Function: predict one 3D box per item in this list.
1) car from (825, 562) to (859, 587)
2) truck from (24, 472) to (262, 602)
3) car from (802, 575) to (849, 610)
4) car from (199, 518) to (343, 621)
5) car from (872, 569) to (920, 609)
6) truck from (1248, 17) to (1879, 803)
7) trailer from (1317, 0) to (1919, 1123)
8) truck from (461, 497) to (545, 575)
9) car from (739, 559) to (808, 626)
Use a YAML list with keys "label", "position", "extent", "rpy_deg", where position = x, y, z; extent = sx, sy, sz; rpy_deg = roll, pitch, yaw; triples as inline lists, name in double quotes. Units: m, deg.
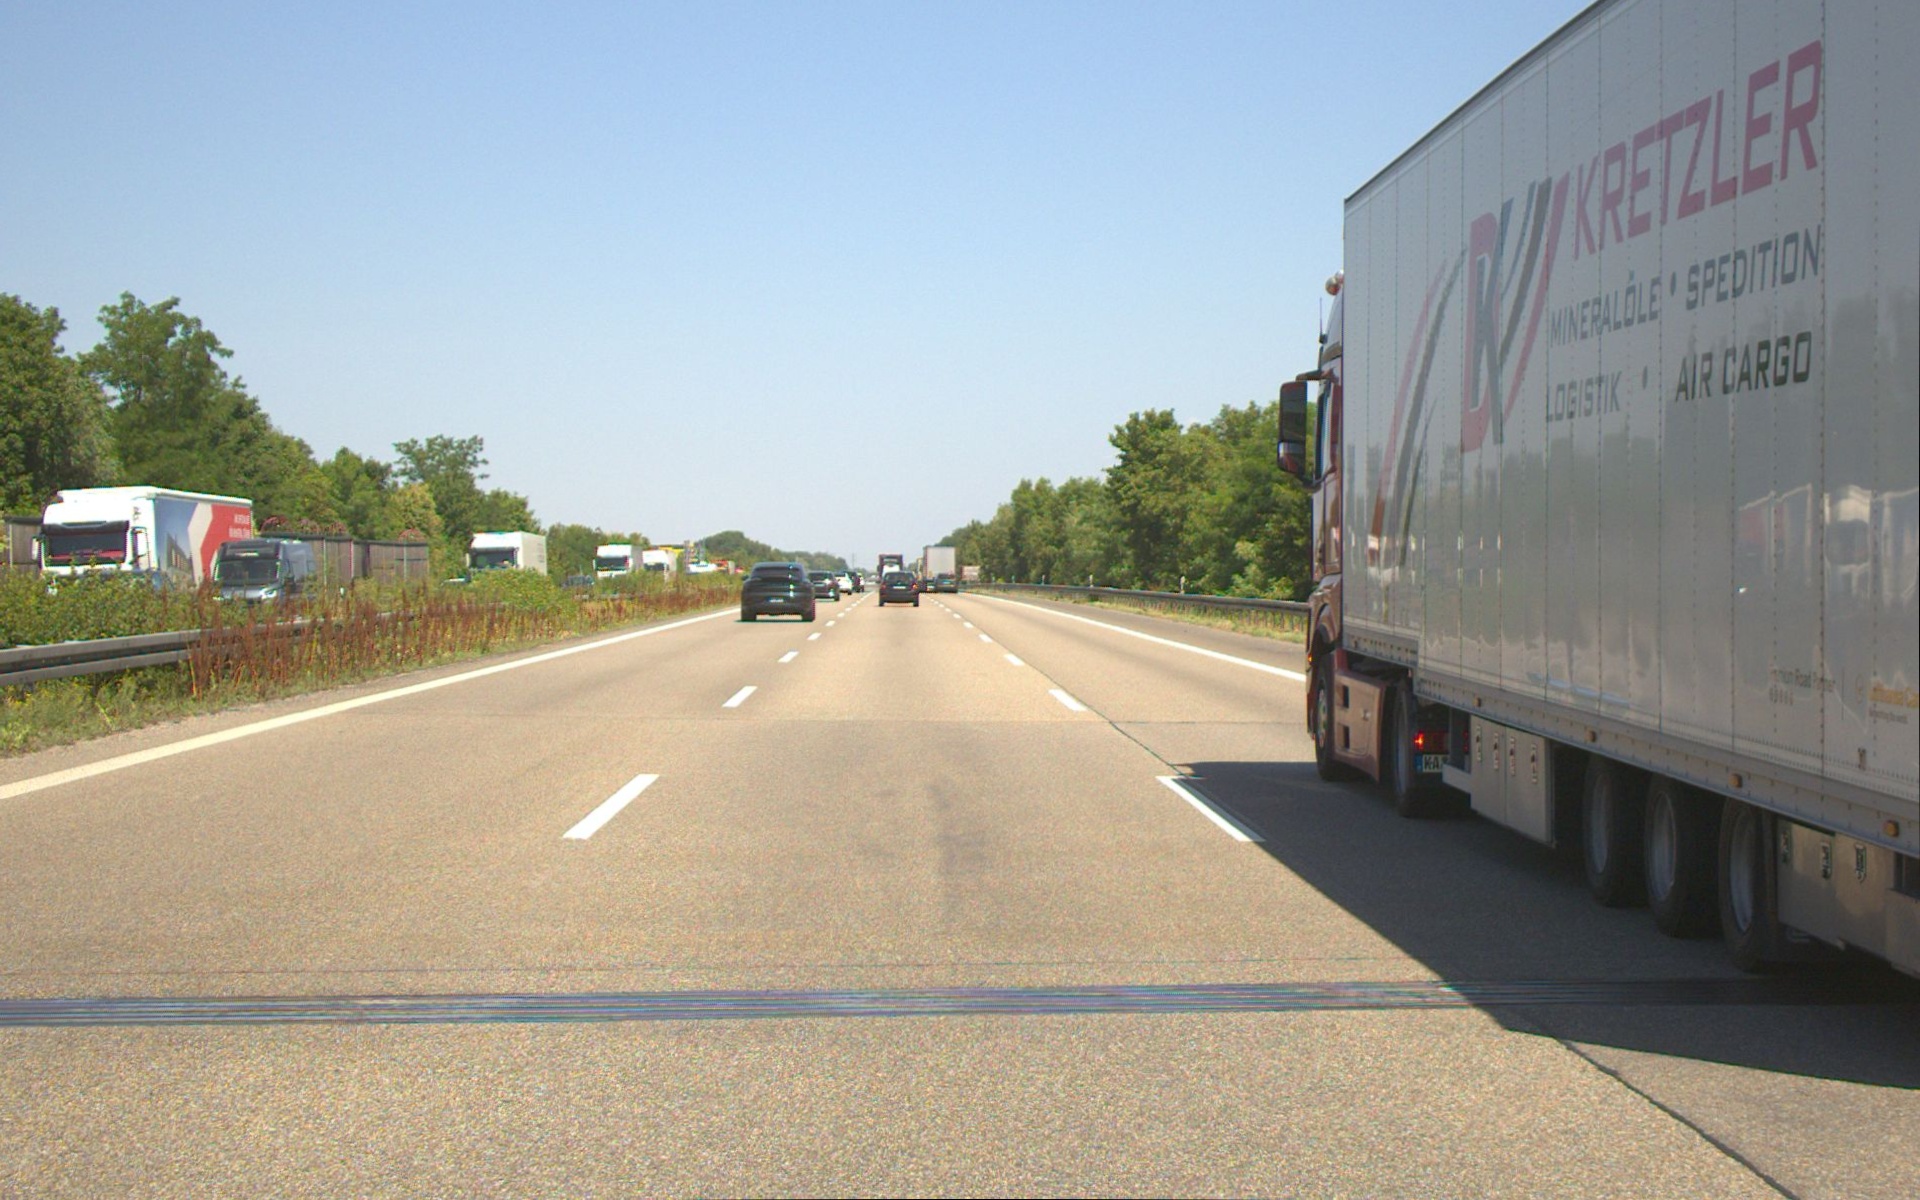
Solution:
- label: "car"
  position: [-7.774, -1.688, 226.579]
  extent: [2.128, 1.640, 4.304]
  rpy_deg: [-1, 0, -1]
- label: "truck"
  position: [-22.856, -1.821, 97.404]
  extent: [2.837, 3.330, 17.005]
  rpy_deg: [1, 1, -1]
- label: "car"
  position: [-6.532, -0.376, 167.230]
  extent: [2.128, 1.640, 4.304]
  rpy_deg: [-1, 0, -1]
- label: "car"
  position: [-18.753, -0.839, 94.002]
  extent: [2.315, 2.554, 7.584]
  rpy_deg: [4, 1, -1]
- label: "car"
  position: [-2.638, -0.458, 142.603]
  extent: [1.903, 1.578, 4.304]
  rpy_deg: [-1, 0, -1]
- label: "truck"
  position: [4.062, -1.256, 24.964]
  extent: [3.234, 4.872, 6.972]
  rpy_deg: [1, 1, 0]
- label: "trailer"
  position: [4.154, -1.121, 16.335]
  extent: [3.269, 4.821, 14.030]
  rpy_deg: [1, 1, -1]
- label: "truck"
  position: [-24.753, -3.459, 186.637]
  extent: [3.581, 4.089, 7.839]
  rpy_deg: [-1, 1, -1]
- label: "car"
  position: [-5.203, -0.221, 96.302]
  extent: [1.880, 1.786, 4.001]
  rpy_deg: [0, 1, -2]
